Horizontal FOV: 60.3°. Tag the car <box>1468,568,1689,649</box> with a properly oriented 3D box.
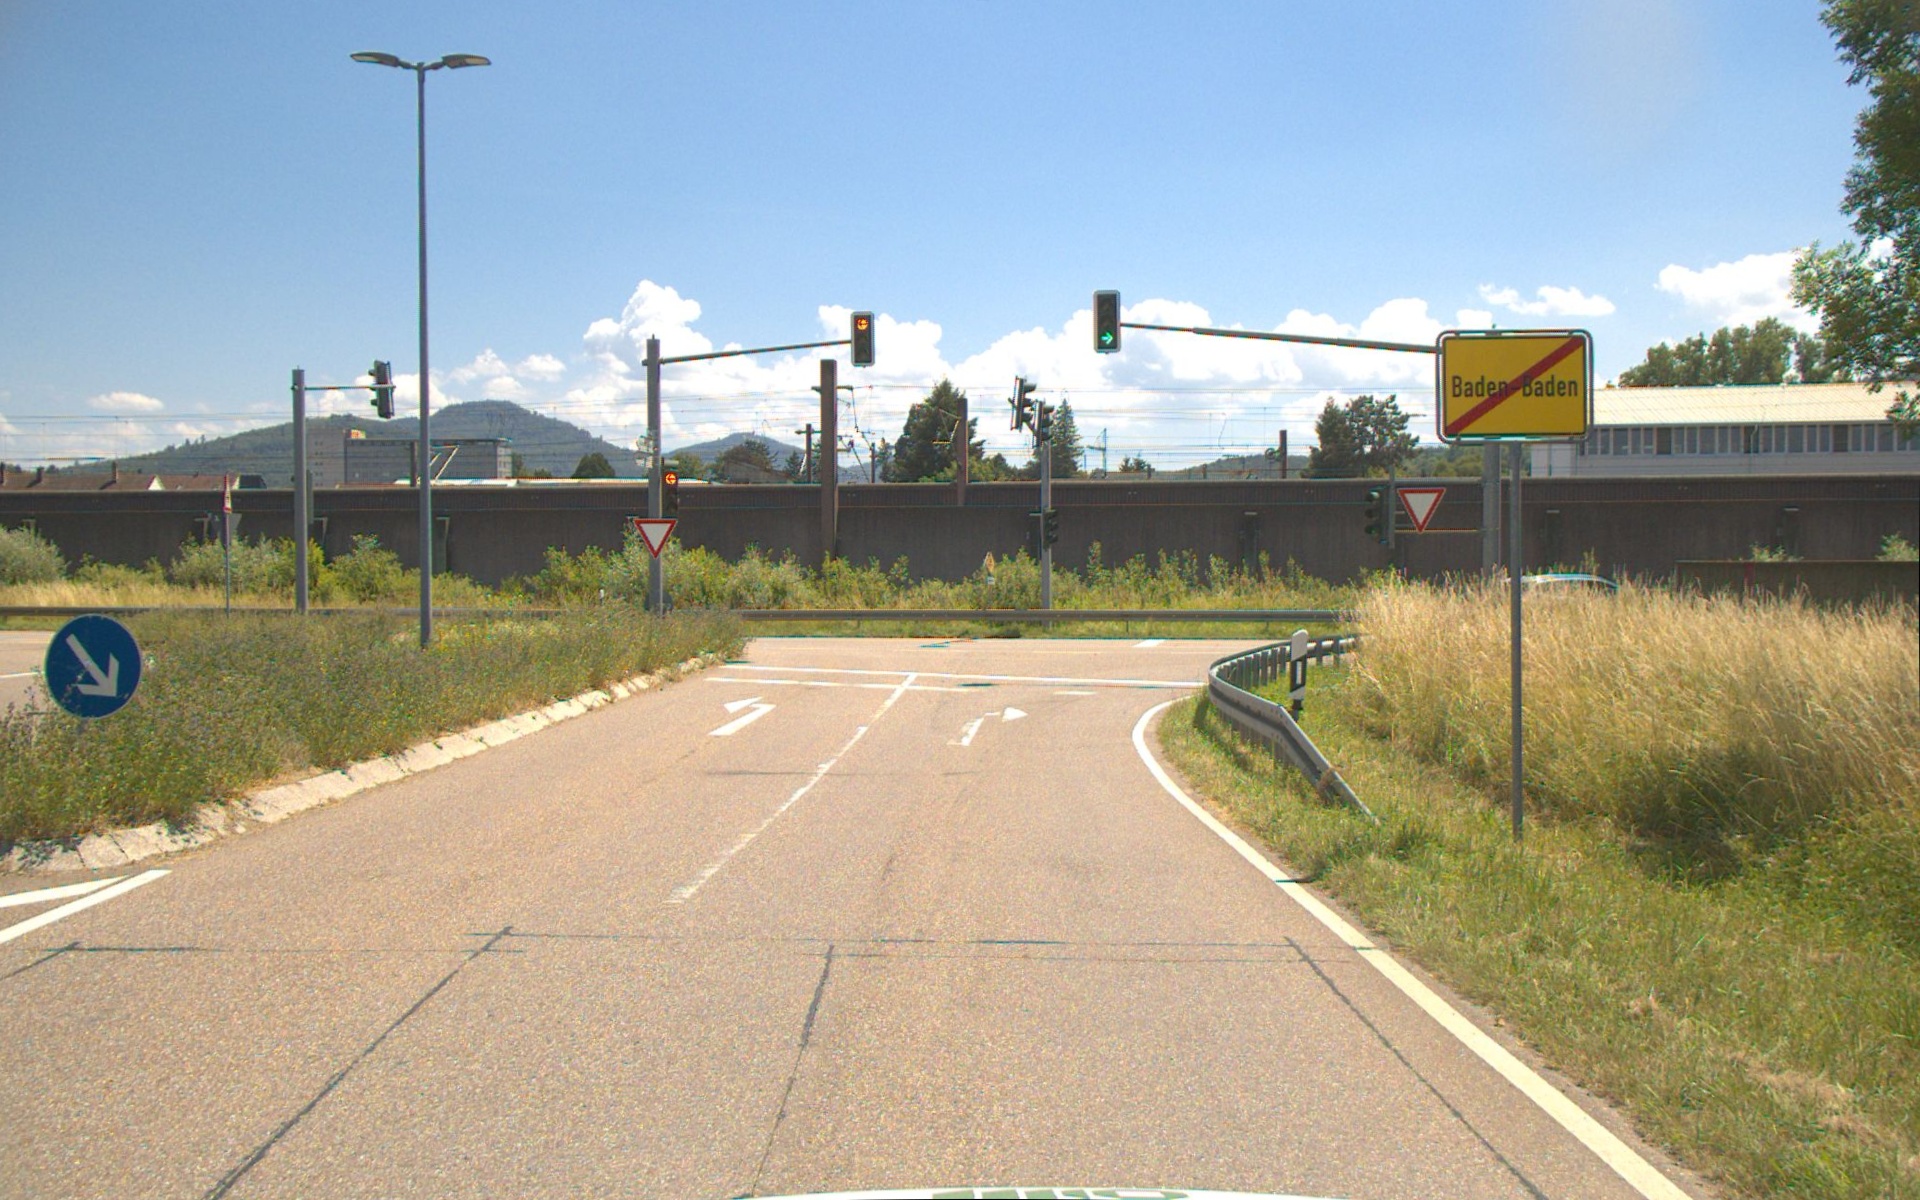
[{"bbox_3d":[12.816,0.146,34.478,3.902,1.529,2.002,2,1,6],"label":"car"}]
